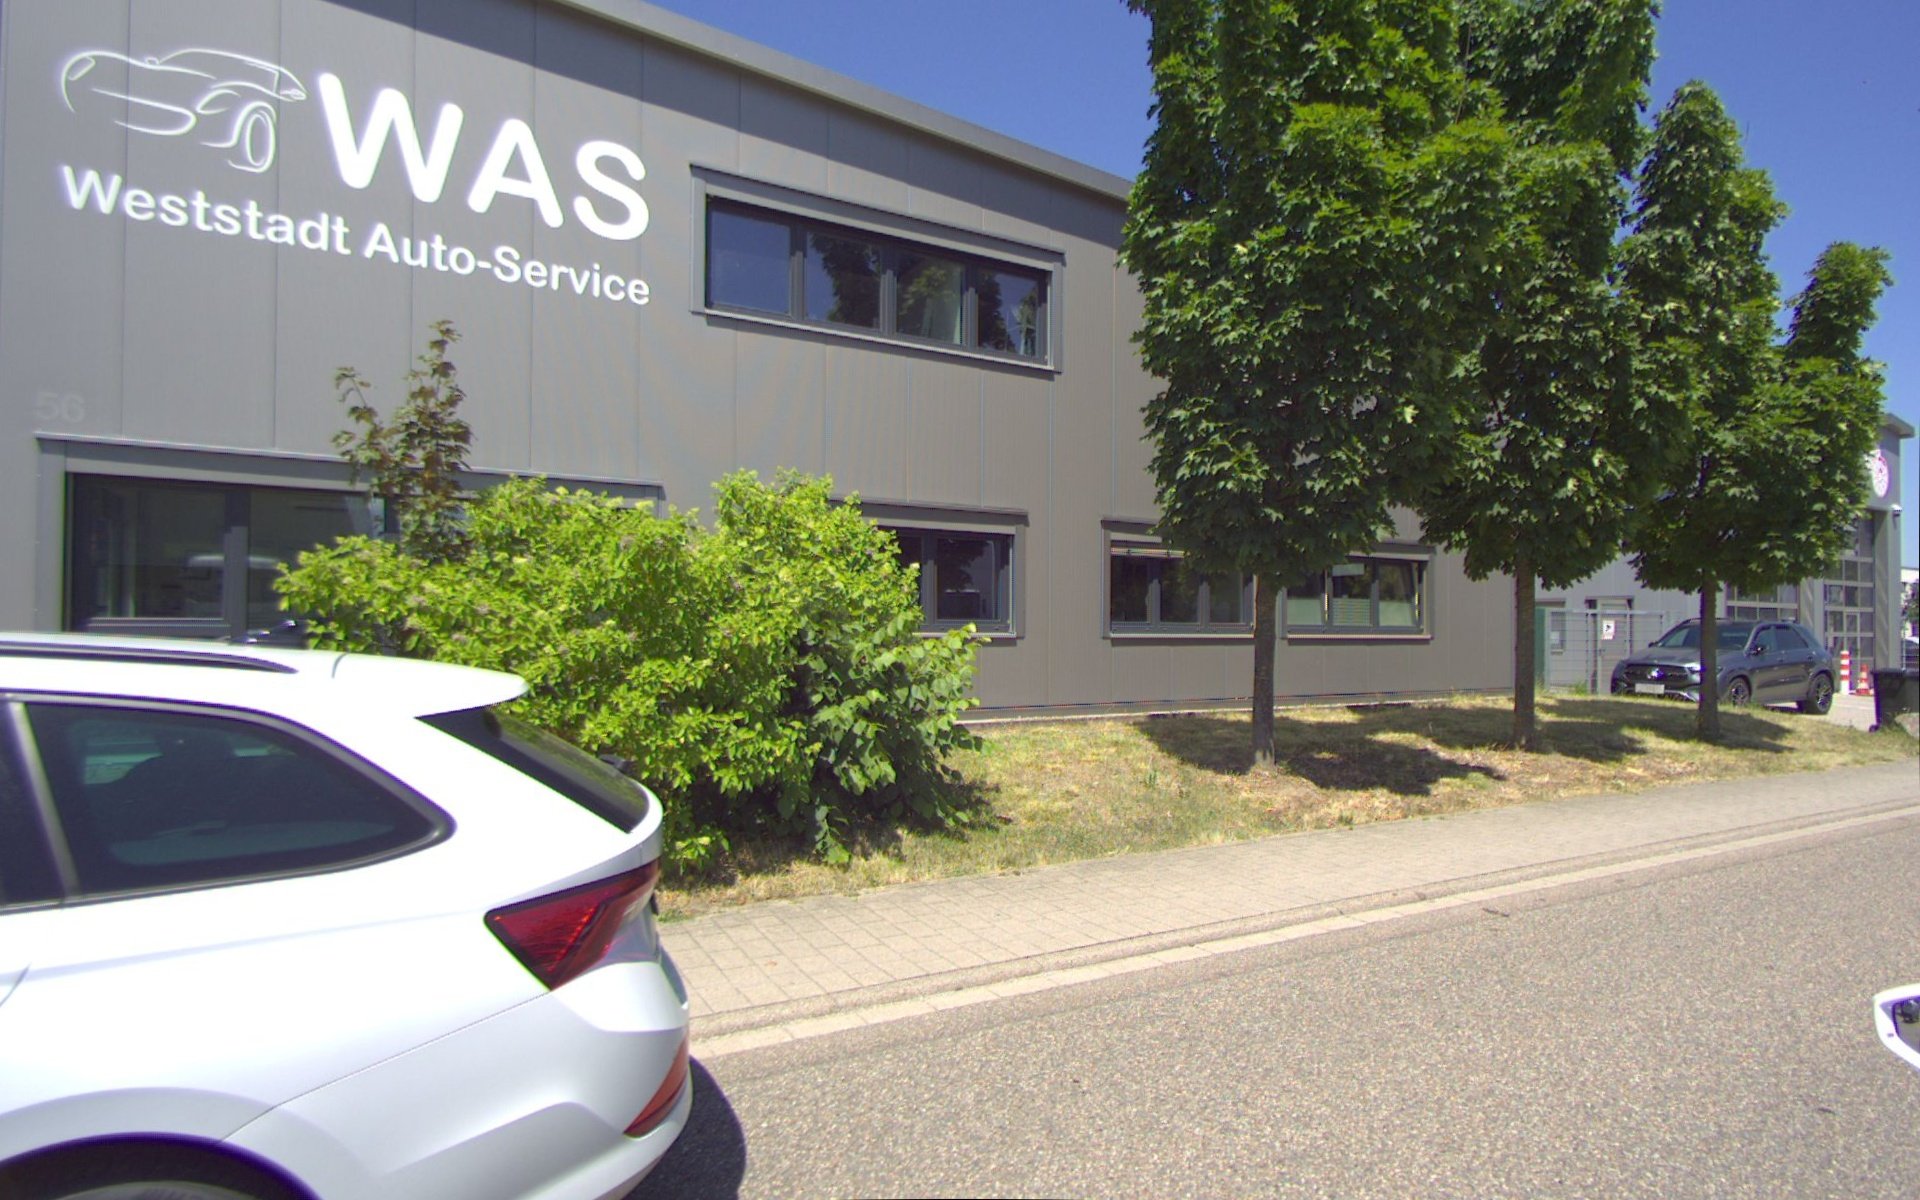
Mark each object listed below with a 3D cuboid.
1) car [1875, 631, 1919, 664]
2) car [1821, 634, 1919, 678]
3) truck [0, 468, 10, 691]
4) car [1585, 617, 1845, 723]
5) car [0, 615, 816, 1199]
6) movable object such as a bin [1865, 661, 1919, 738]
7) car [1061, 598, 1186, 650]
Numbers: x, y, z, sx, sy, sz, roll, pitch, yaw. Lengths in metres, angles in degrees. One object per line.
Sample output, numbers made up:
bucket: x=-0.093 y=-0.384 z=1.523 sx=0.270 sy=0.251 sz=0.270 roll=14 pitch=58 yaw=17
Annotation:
car: x=54.425 y=2.667 z=56.532 sx=1.894 sy=1.839 sz=3.969 roll=1 pitch=-2 yaw=-30
car: x=34.854 y=2.067 z=37.797 sx=1.542 sy=1.572 sz=3.479 roll=1 pitch=-2 yaw=-34
truck: x=-16.766 y=-0.389 z=12.338 sx=2.535 sy=3.604 sz=8.064 roll=1 pitch=0 yaw=0
car: x=14.331 y=1.227 z=19.026 sx=4.848 sy=1.758 sz=1.987 roll=0 pitch=0 yaw=-26
car: x=-2.643 y=0.755 z=1.701 sx=4.439 sy=1.477 sz=1.722 roll=2 pitch=-1 yaw=-30
movable object such as a bin: x=14.219 y=1.489 z=15.190 sx=0.756 sy=1.080 sz=0.576 roll=1 pitch=0 yaw=-30
car: x=5.839 y=0.820 z=36.485 sx=1.974 sy=1.758 sz=4.878 roll=0 pitch=0 yaw=-27
